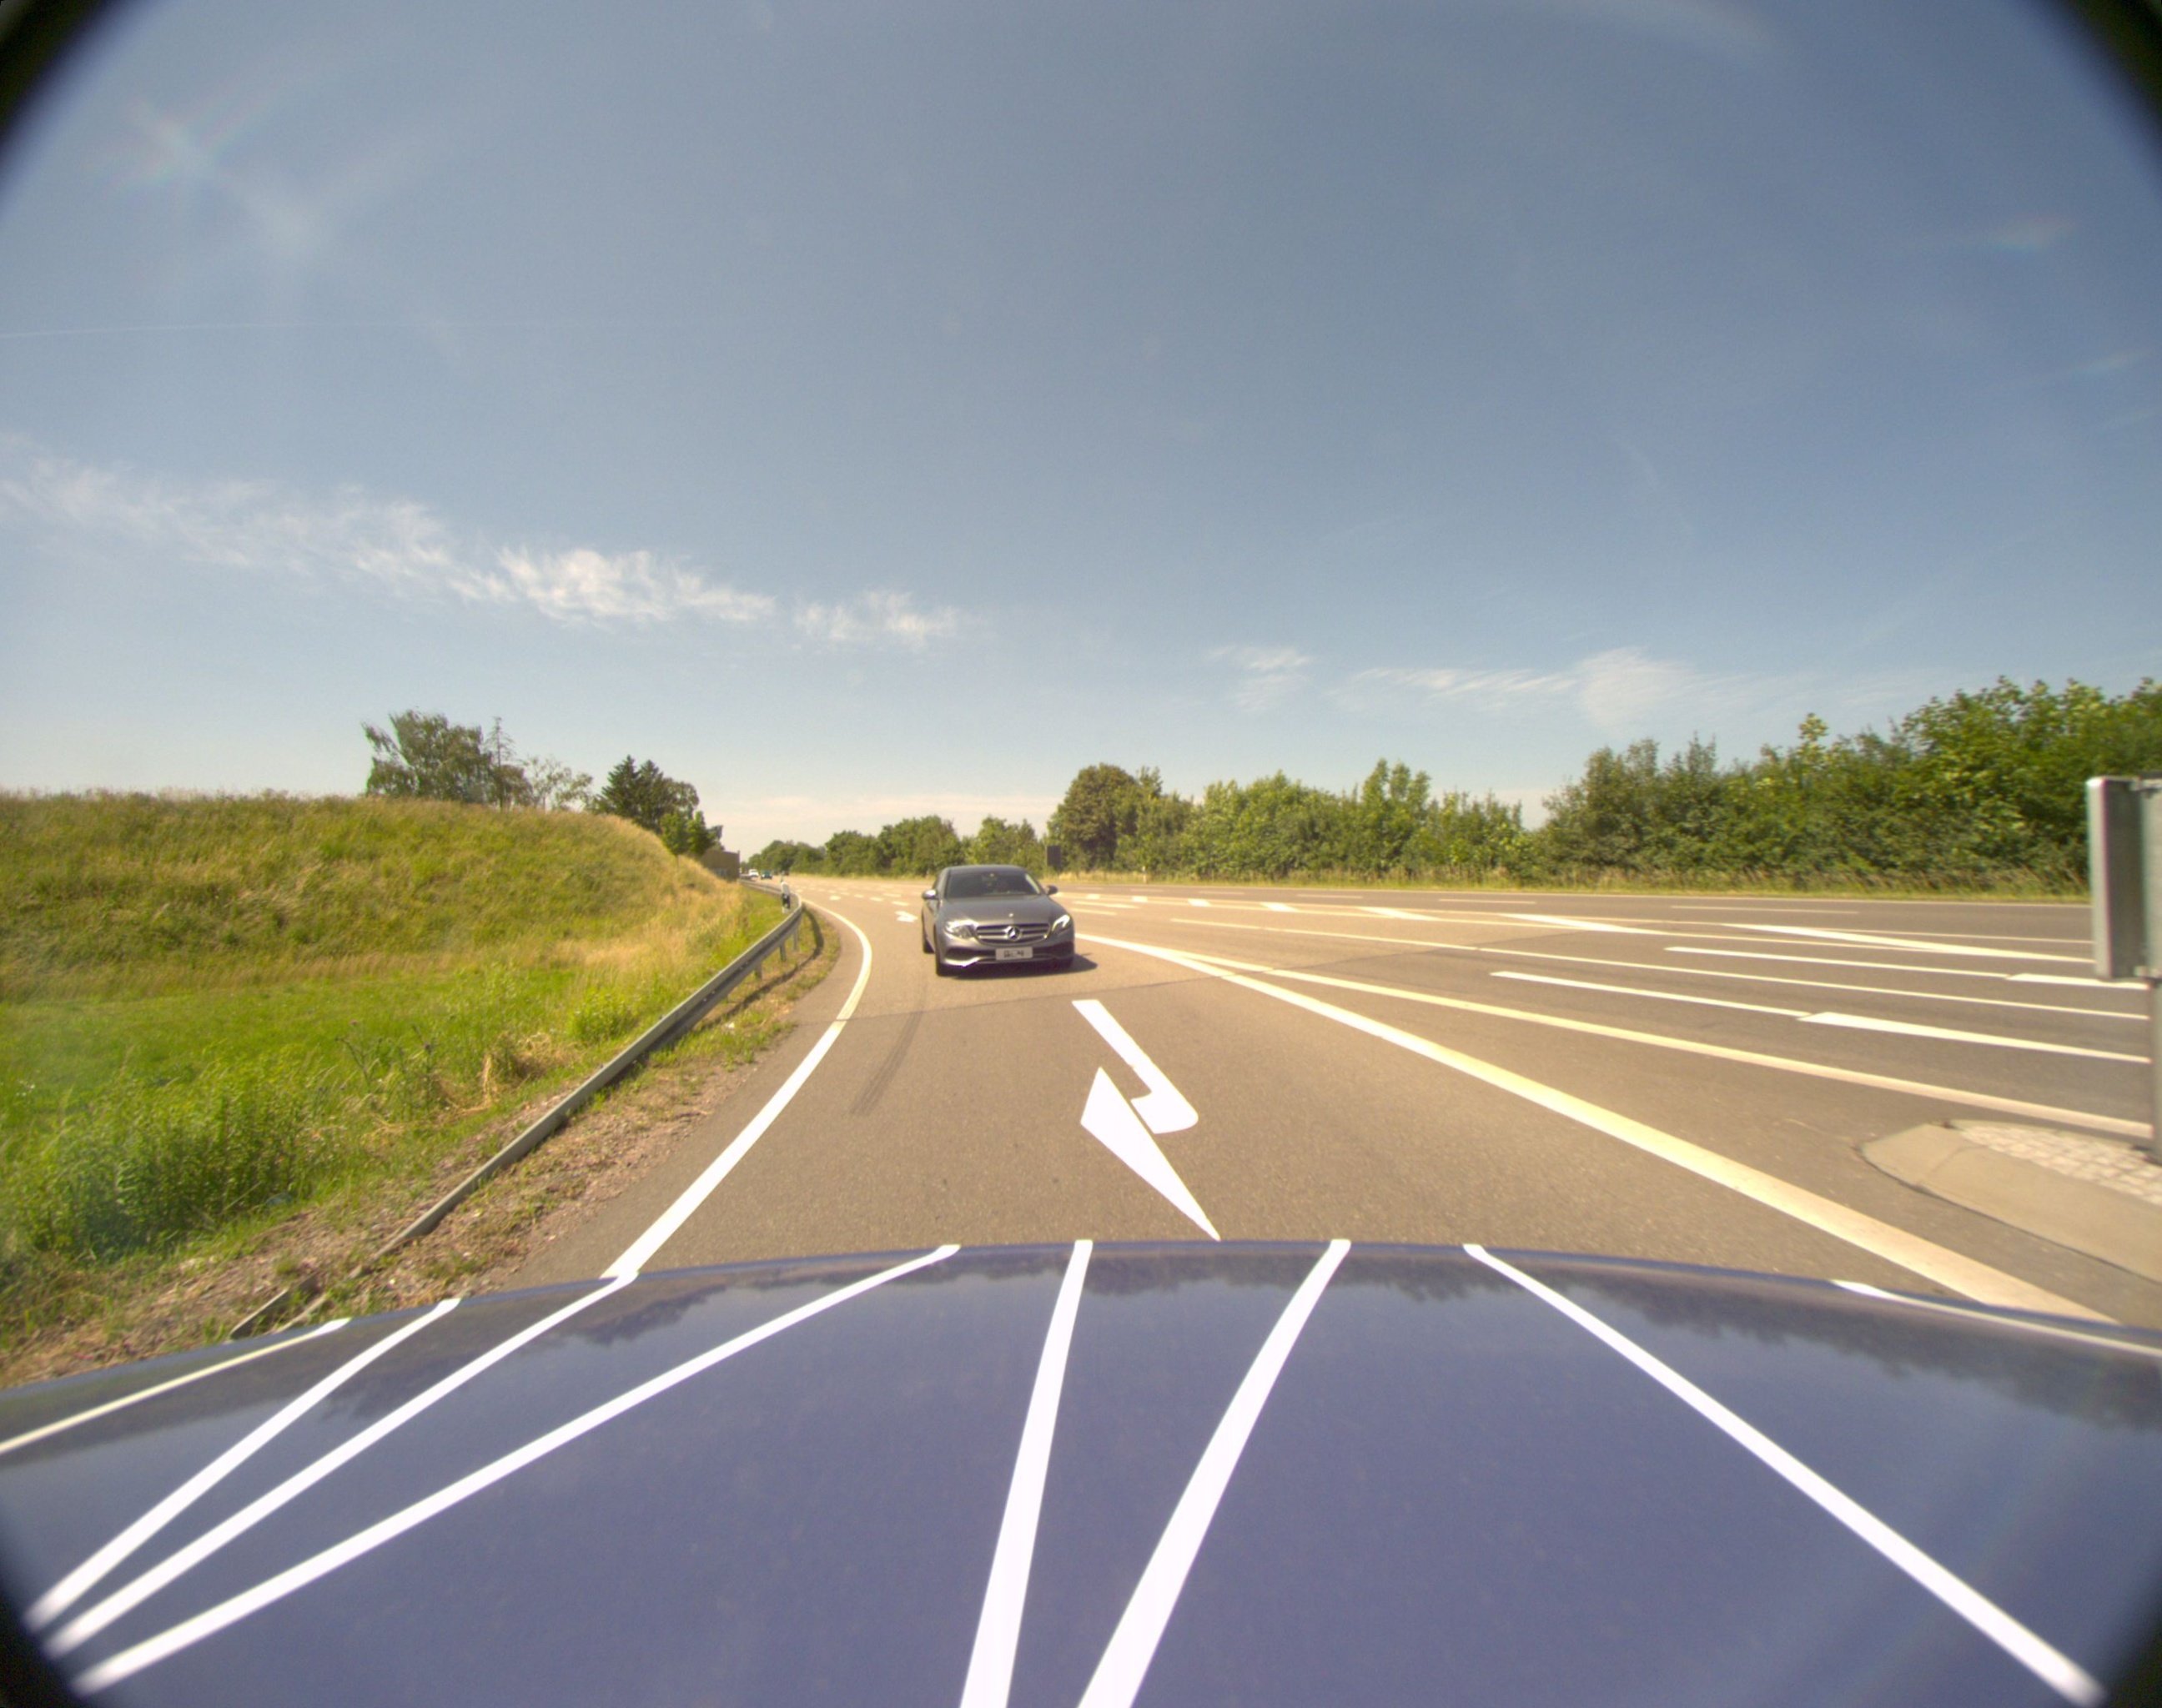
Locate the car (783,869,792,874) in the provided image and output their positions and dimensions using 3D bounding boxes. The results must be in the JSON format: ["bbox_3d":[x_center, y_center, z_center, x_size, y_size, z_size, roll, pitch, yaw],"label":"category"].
[{"bbox_3d":[-86.000,5.103,222.682,1.887,1.390,4.522,-2,0,-26],"label":"car"}]

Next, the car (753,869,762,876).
[{"bbox_3d":[-77.171,4.424,181.308,1.805,1.674,3.992,-3,1,-24],"label":"car"}]

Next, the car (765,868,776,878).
[{"bbox_3d":[-58.315,3.577,142.682,1.805,1.674,3.992,-3,1,-24],"label":"car"}]

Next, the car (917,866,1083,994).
[{"bbox_3d":[-1.466,0.969,11.707,1.896,1.439,4.520,-2,0,-14],"label":"car"}]
